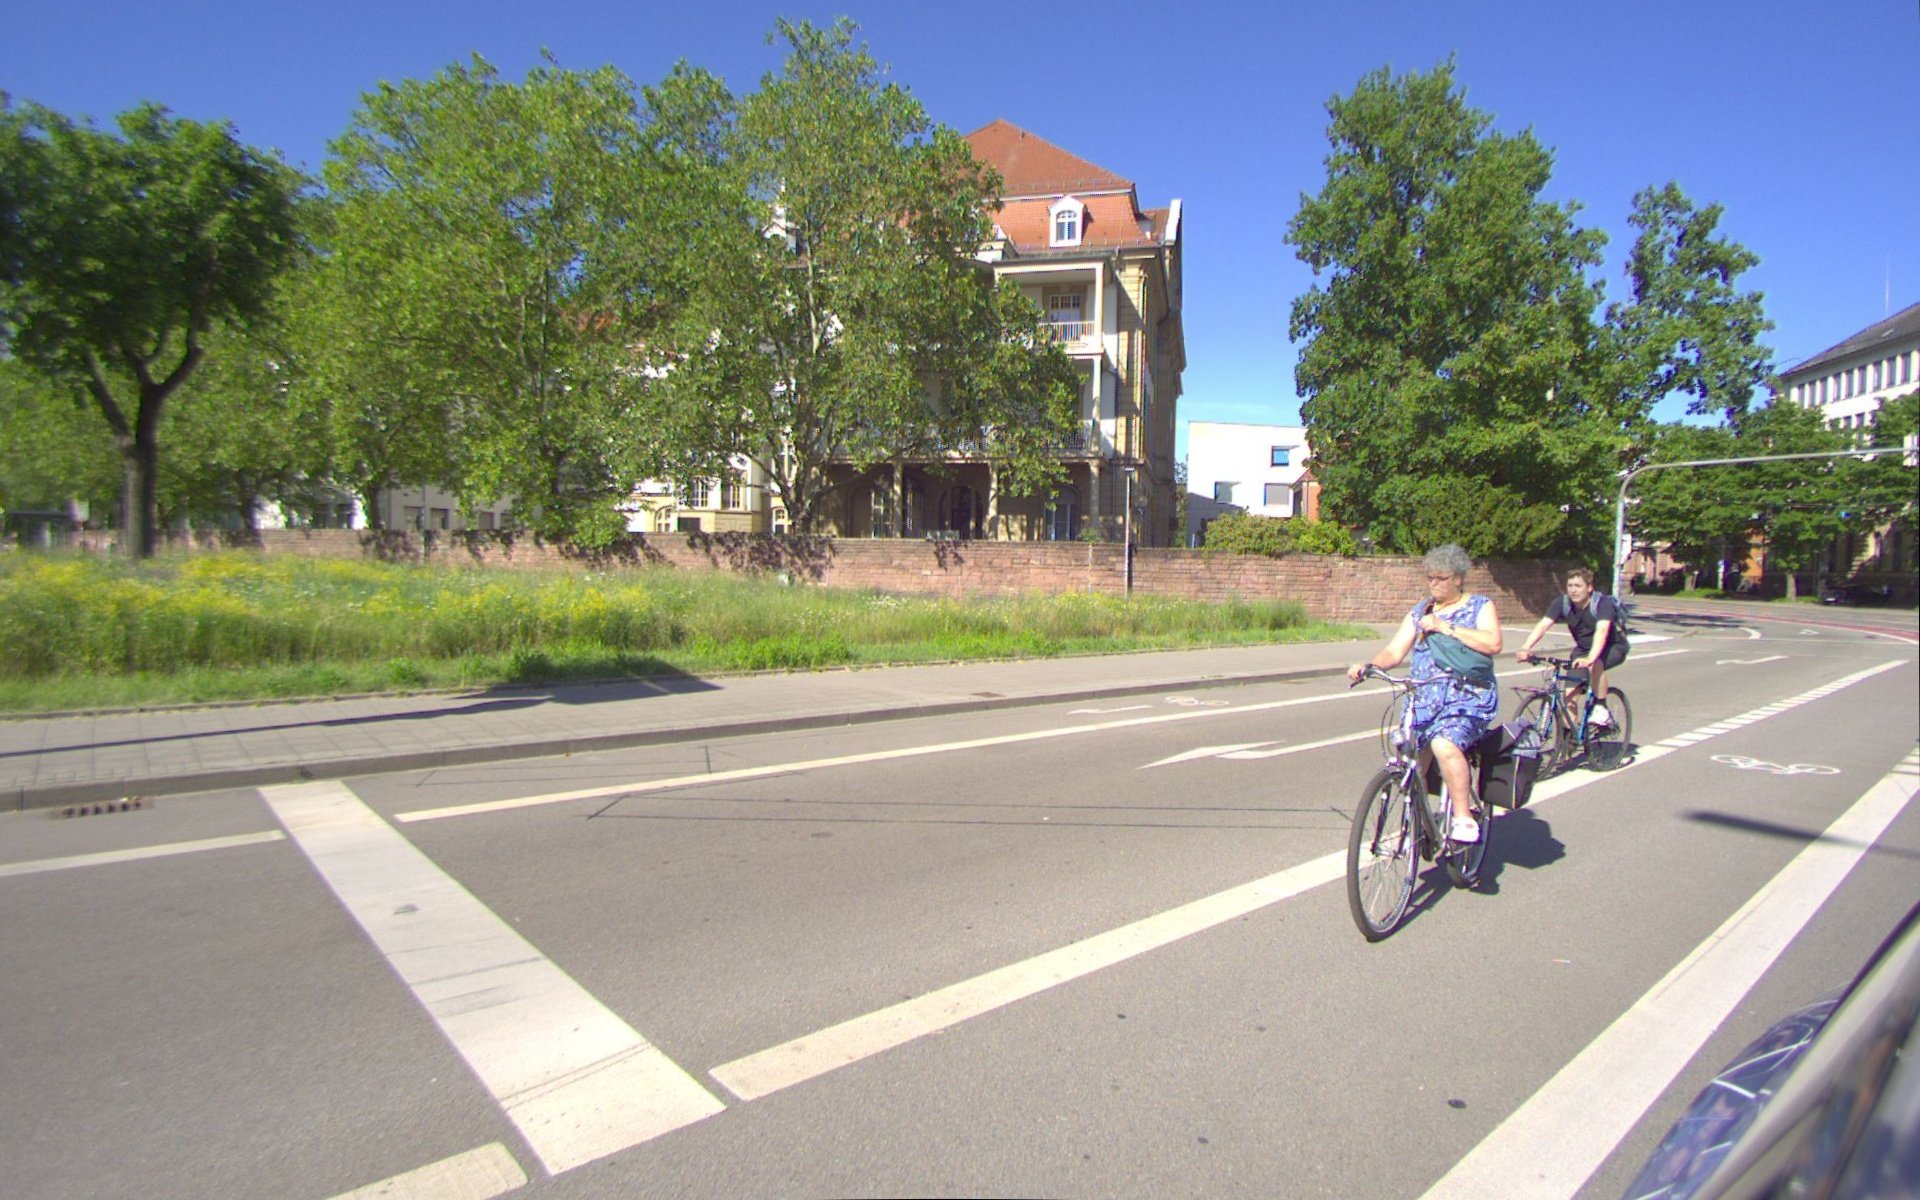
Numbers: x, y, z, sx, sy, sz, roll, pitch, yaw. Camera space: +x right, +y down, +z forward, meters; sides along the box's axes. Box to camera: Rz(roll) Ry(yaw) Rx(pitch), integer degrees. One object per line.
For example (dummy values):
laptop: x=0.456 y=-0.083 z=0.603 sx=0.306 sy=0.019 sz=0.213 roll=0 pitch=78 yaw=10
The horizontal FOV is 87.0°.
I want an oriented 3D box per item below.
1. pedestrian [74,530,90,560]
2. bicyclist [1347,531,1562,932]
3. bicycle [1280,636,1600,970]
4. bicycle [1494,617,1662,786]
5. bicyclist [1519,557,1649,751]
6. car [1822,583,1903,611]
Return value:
pedestrian: x=-48.699 y=-3.021 z=56.129 sx=0.642 sy=1.631 sz=0.557 roll=-1 pitch=0 yaw=-43
bicyclist: x=2.312 y=0.537 z=4.733 sx=0.763 sy=1.683 sz=0.642 roll=-1 pitch=2 yaw=-41
bicycle: x=2.312 y=0.806 z=4.746 sx=1.934 sy=1.179 sz=0.642 roll=-1 pitch=1 yaw=-42
bicycle: x=5.022 y=0.750 z=8.173 sx=1.838 sy=1.180 sz=0.642 roll=0 pitch=1 yaw=-41
bicyclist: x=5.053 y=0.401 z=8.185 sx=0.936 sy=1.462 sz=0.642 roll=0 pitch=1 yaw=-41
car: x=63.532 y=-0.236 z=71.303 sx=3.731 sy=1.838 sz=2.000 roll=1 pitch=2 yaw=2
